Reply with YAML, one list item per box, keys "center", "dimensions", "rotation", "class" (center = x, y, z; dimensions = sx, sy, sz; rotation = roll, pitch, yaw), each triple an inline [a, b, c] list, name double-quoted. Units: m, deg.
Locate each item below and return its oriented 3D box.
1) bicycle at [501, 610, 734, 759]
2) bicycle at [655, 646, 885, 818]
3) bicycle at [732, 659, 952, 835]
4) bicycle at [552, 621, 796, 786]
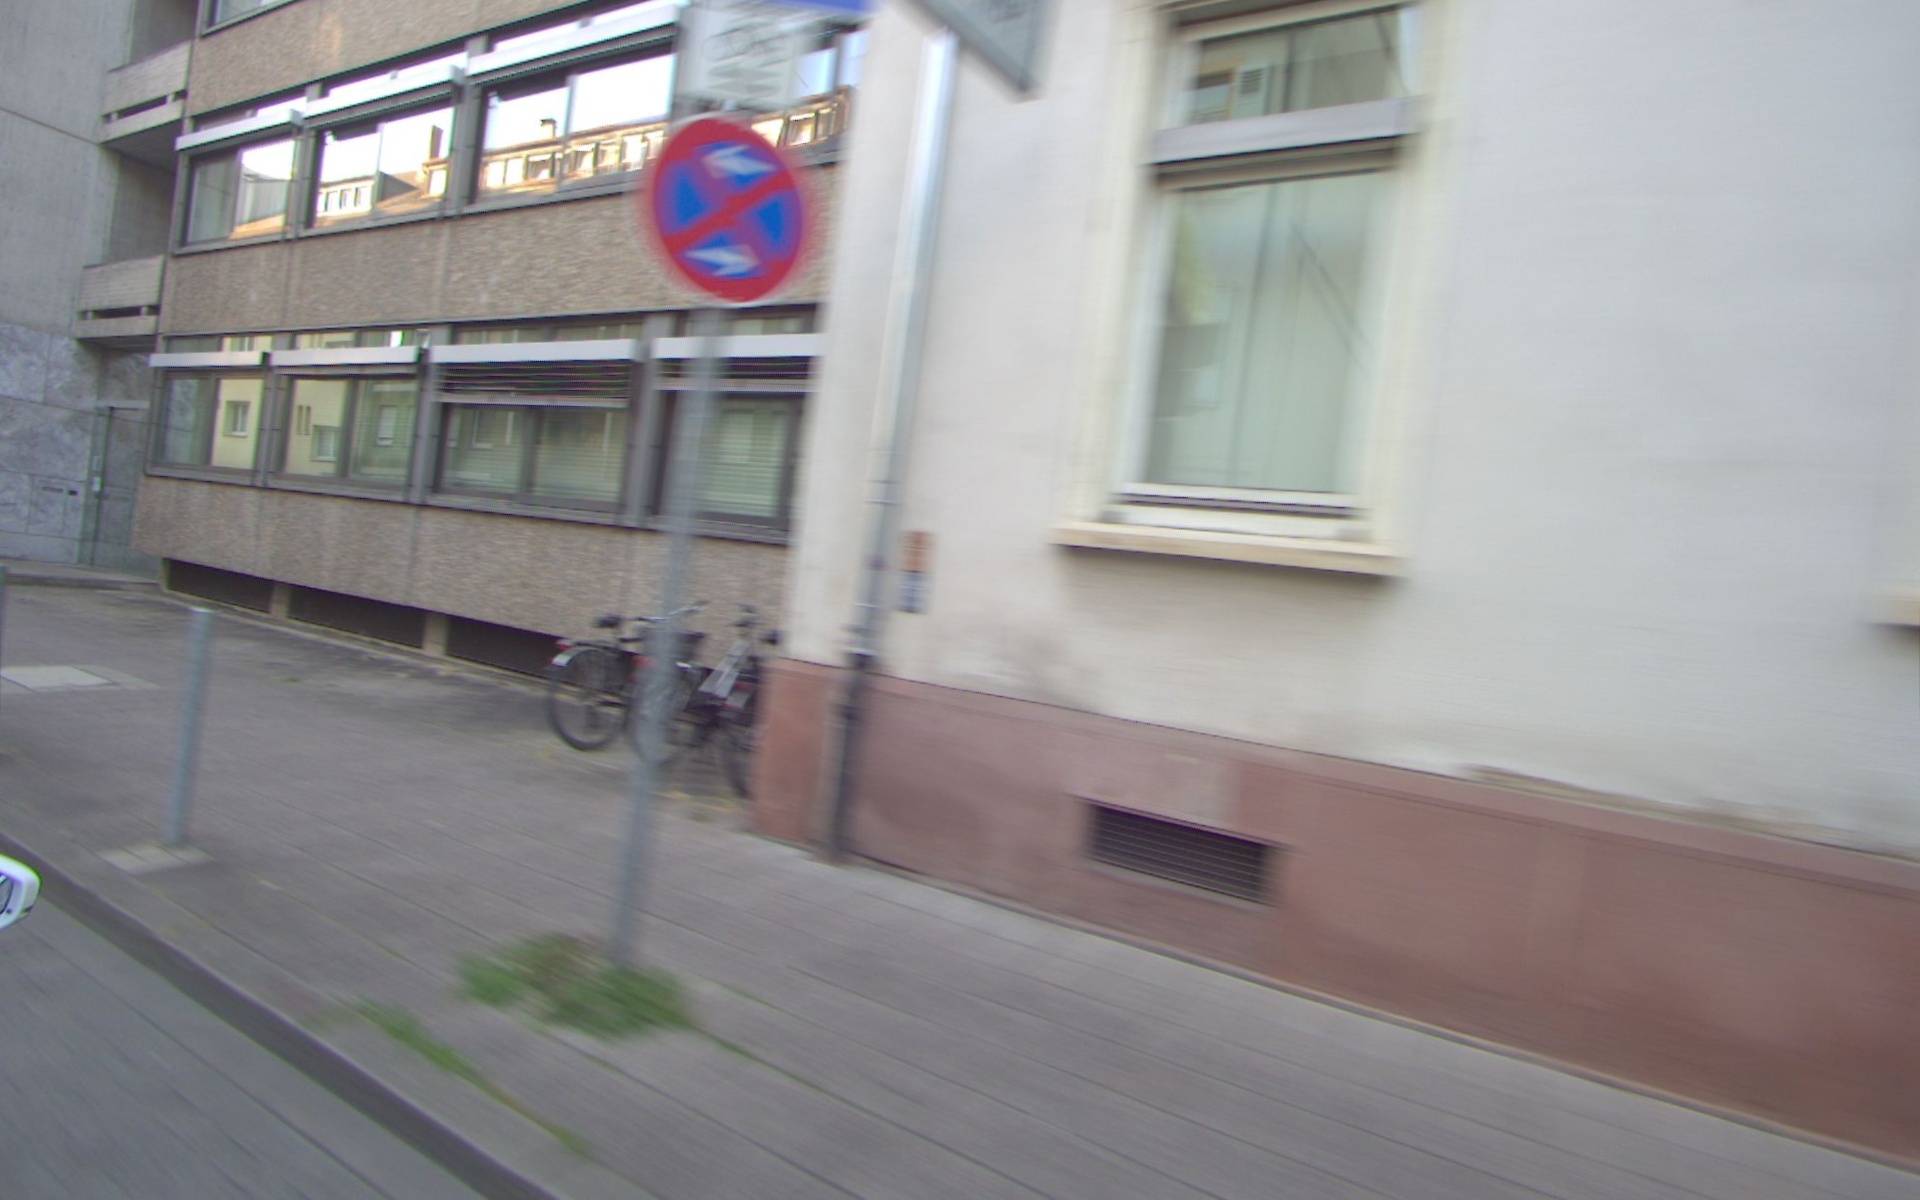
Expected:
- center: [-2.495, 0.627, 7.564]
  dimensions: [0.528, 0.934, 1.745]
  rotation: [7, -1, 24]
  class: "bicycle"
- center: [-1.193, 0.838, 6.759]
  dimensions: [0.507, 0.934, 1.801]
  rotation: [7, -1, 23]
  class: "bicycle"
- center: [-0.686, 0.903, 6.522]
  dimensions: [0.389, 0.934, 1.800]
  rotation: [7, -1, 27]
  class: "bicycle"
- center: [-1.902, 0.695, 6.997]
  dimensions: [0.528, 0.934, 1.801]
  rotation: [7, -1, 23]
  class: "bicycle"
